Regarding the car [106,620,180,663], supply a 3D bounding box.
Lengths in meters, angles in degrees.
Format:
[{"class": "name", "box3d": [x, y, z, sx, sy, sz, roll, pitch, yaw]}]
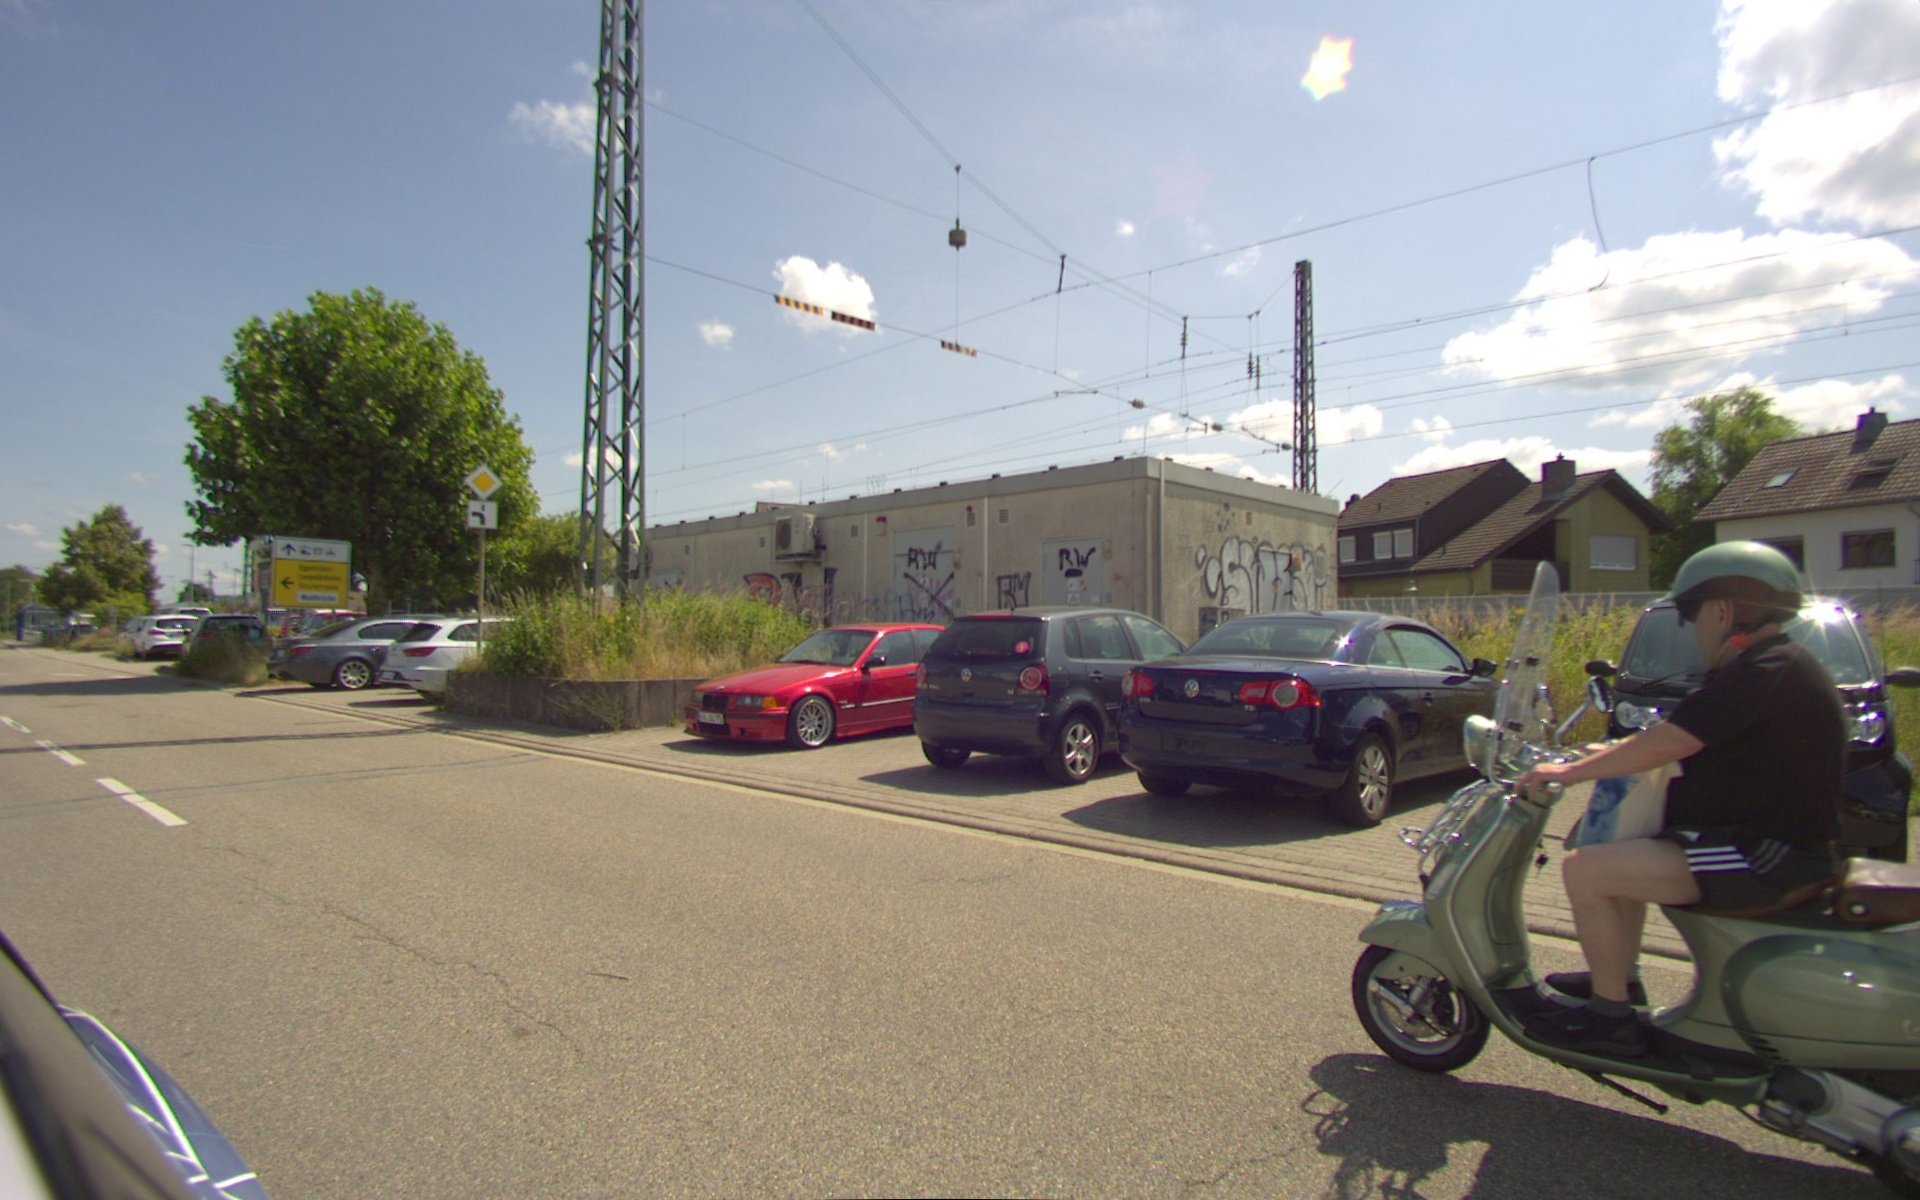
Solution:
[{"class": "car", "box3d": [-31.229, 1.559, 38.630, 1.769, 1.556, 3.962, 3, -3, -45]}]

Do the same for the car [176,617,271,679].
[{"class": "car", "box3d": [-19.782, 1.259, 27.108, 1.664, 1.542, 4.068, 2, -3, -41]}]

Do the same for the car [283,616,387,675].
[{"class": "car", "box3d": [-17.661, 1.270, 28.558, 1.770, 1.548, 3.581, 3, -3, -44]}]

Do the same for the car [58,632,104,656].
[{"class": "car", "box3d": [-50.556, 2.512, 58.188, 4.001, 1.360, 1.586, -2, -3, 44]}]

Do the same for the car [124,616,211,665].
[{"class": "car", "box3d": [-26.901, 1.359, 34.305, 4.264, 1.576, 1.783, -2, -3, 45]}]

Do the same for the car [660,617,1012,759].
[{"class": "car", "box3d": [-1.310, 0.921, 11.990, 1.673, 1.379, 4.029, -3, -3, 42]}]

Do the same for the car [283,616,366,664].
[{"class": "car", "box3d": [-23.793, 1.445, 37.806, 1.969, 1.670, 4.268, 0, -1, -41]}]

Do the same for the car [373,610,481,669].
[{"class": "car", "box3d": [-16.189, 1.178, 30.669, 1.969, 1.650, 4.092, 2, -3, -41]}]

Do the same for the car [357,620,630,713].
[{"class": "car", "box3d": [-8.104, 1.080, 17.866, 1.785, 1.412, 4.032, -1, -1, 40]}]

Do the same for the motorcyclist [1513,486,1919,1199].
[{"class": "motorcyclist", "box3d": [2.053, 0.531, 2.621, 0.921, 1.520, 0.767, -1, -2, 43]}]

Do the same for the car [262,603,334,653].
[{"class": "car", "box3d": [-27.890, 1.194, 42.569, 1.823, 2.029, 4.004, 3, -3, -43]}]

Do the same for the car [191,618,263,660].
[{"class": "car", "box3d": [-29.480, 1.552, 40.652, 1.779, 1.576, 4.266, 3, -3, -44]}]

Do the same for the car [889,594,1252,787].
[{"class": "car", "box3d": [1.196, 0.699, 9.617, 1.683, 1.459, 3.628, -2, -1, 40]}]

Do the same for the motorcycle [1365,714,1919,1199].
[{"class": "motorcycle", "box3d": [2.101, 0.900, 2.570, 1.955, 1.059, 0.458, -1, -2, 43]}]

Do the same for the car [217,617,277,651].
[{"class": "car", "box3d": [-35.884, 1.727, 50.899, 1.925, 1.621, 4.277, 2, -3, -42]}]

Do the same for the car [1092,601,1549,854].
[{"class": "car", "box3d": [2.949, 0.797, 7.860, 3.898, 1.461, 1.788, 2, -2, -44]}]

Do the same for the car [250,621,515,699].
[{"class": "car", "box3d": [-11.732, 1.185, 20.830, 1.786, 1.421, 4.382, -1, -3, 39]}]

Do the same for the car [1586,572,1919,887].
[{"class": "car", "box3d": [5.282, 0.682, 6.611, 1.601, 1.550, 3.155, -1, -2, 40]}]

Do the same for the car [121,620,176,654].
[{"class": "car", "box3d": [-42.572, 1.937, 53.055, 4.001, 1.698, 1.708, -2, -3, 44]}]

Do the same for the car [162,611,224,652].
[{"class": "car", "box3d": [-36.070, 1.475, 47.561, 1.925, 1.847, 3.839, 2, -3, -42]}]
